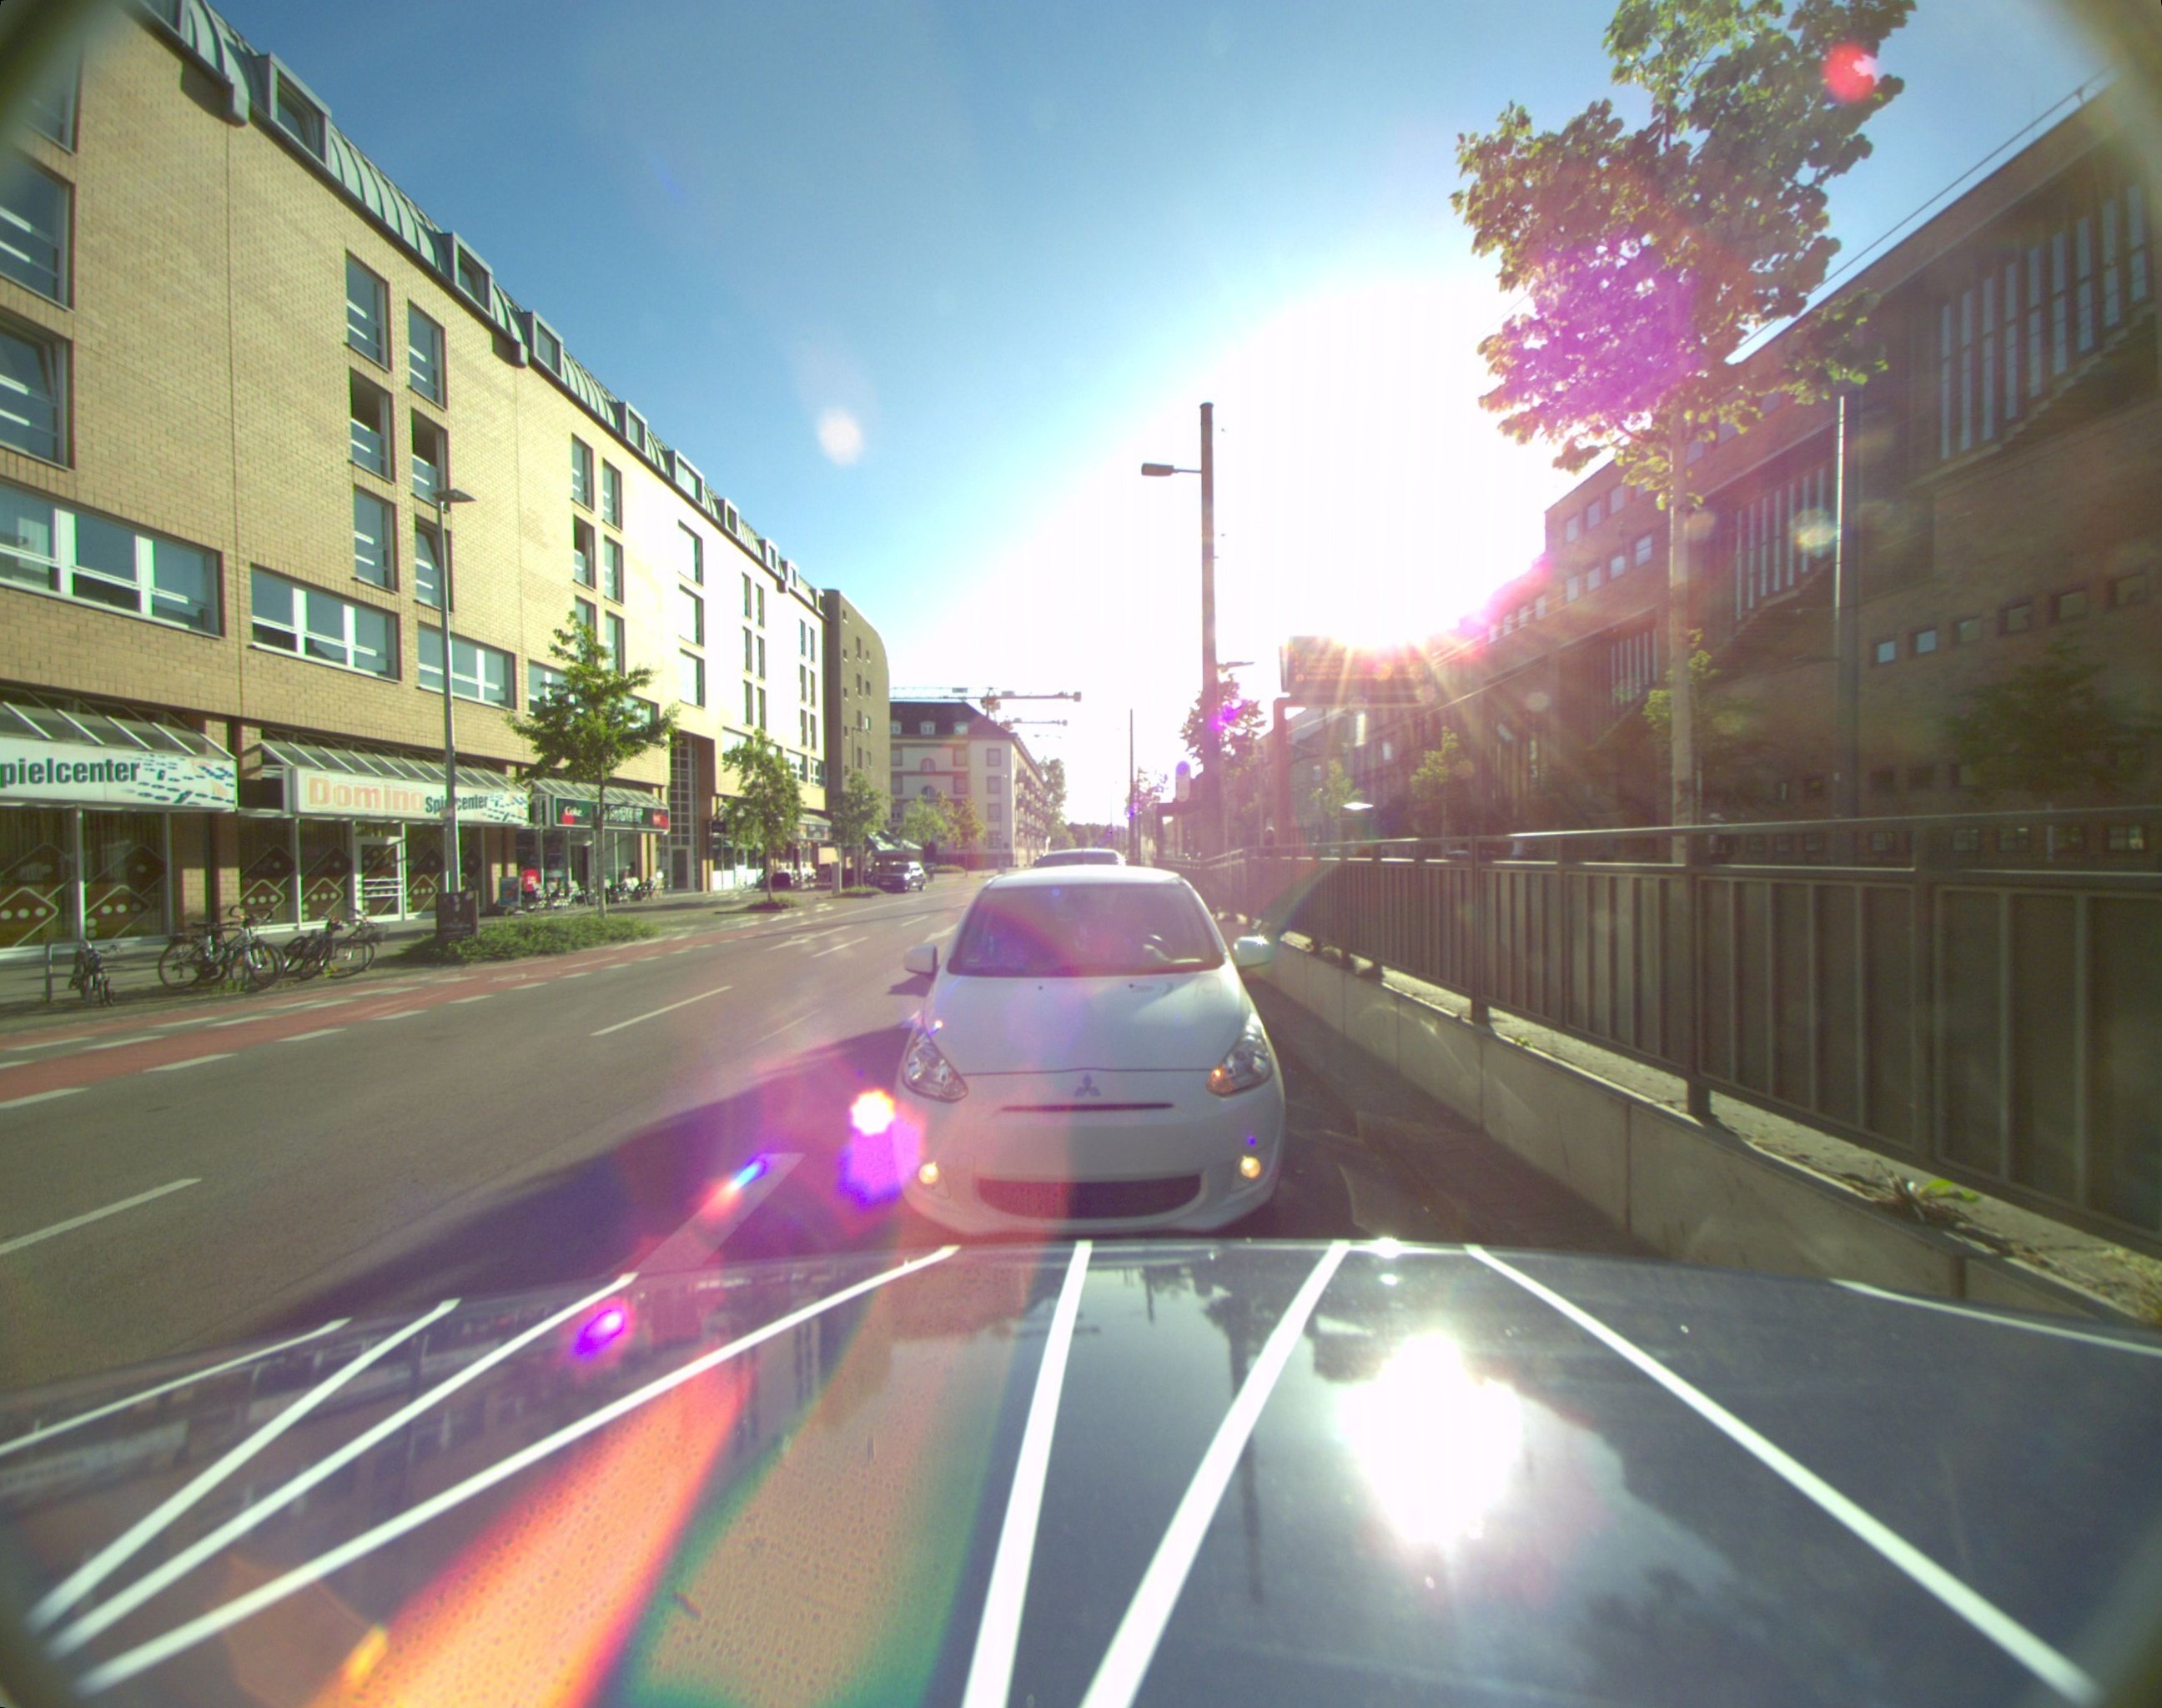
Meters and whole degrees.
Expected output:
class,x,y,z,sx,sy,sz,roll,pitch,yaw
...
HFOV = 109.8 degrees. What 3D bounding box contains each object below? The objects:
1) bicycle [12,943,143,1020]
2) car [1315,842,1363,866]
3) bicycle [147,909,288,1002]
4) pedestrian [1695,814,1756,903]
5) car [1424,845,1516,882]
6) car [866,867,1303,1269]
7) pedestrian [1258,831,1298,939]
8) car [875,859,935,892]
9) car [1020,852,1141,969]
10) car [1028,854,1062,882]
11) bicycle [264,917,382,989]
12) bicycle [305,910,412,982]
class,x,y,z,sx,sy,sz,roll,pitch,yaw
bicycle,-12.984,1.628,9.827,1.772,0.827,0.366,1,2,15
car,17.602,-0.019,52.077,1.830,1.559,4.240,0,1,-1
bicycle,-12.391,1.430,10.908,1.835,1.156,0.565,1,2,15
pedestrian,13.431,0.086,15.847,0.685,1.797,0.668,-2,2,0
car,17.764,0.394,34.987,1.830,1.559,4.693,0,1,0
car,0.014,0.914,5.201,1.720,1.422,4.215,-2,1,0
pedestrian,4.546,0.708,17.565,0.684,2.428,0.626,-2,2,-2
car,-9.555,1.152,41.586,1.778,1.630,4.002,1,1,9
car,-0.009,0.834,13.323,1.720,1.591,4.215,-2,1,0
car,-2.255,0.857,48.832,1.808,1.586,4.453,-3,0,1
bicycle,-12.013,1.548,12.042,1.835,0.980,0.449,1,2,15
bicycle,-11.897,1.491,12.500,1.835,1.050,0.350,1,2,15
